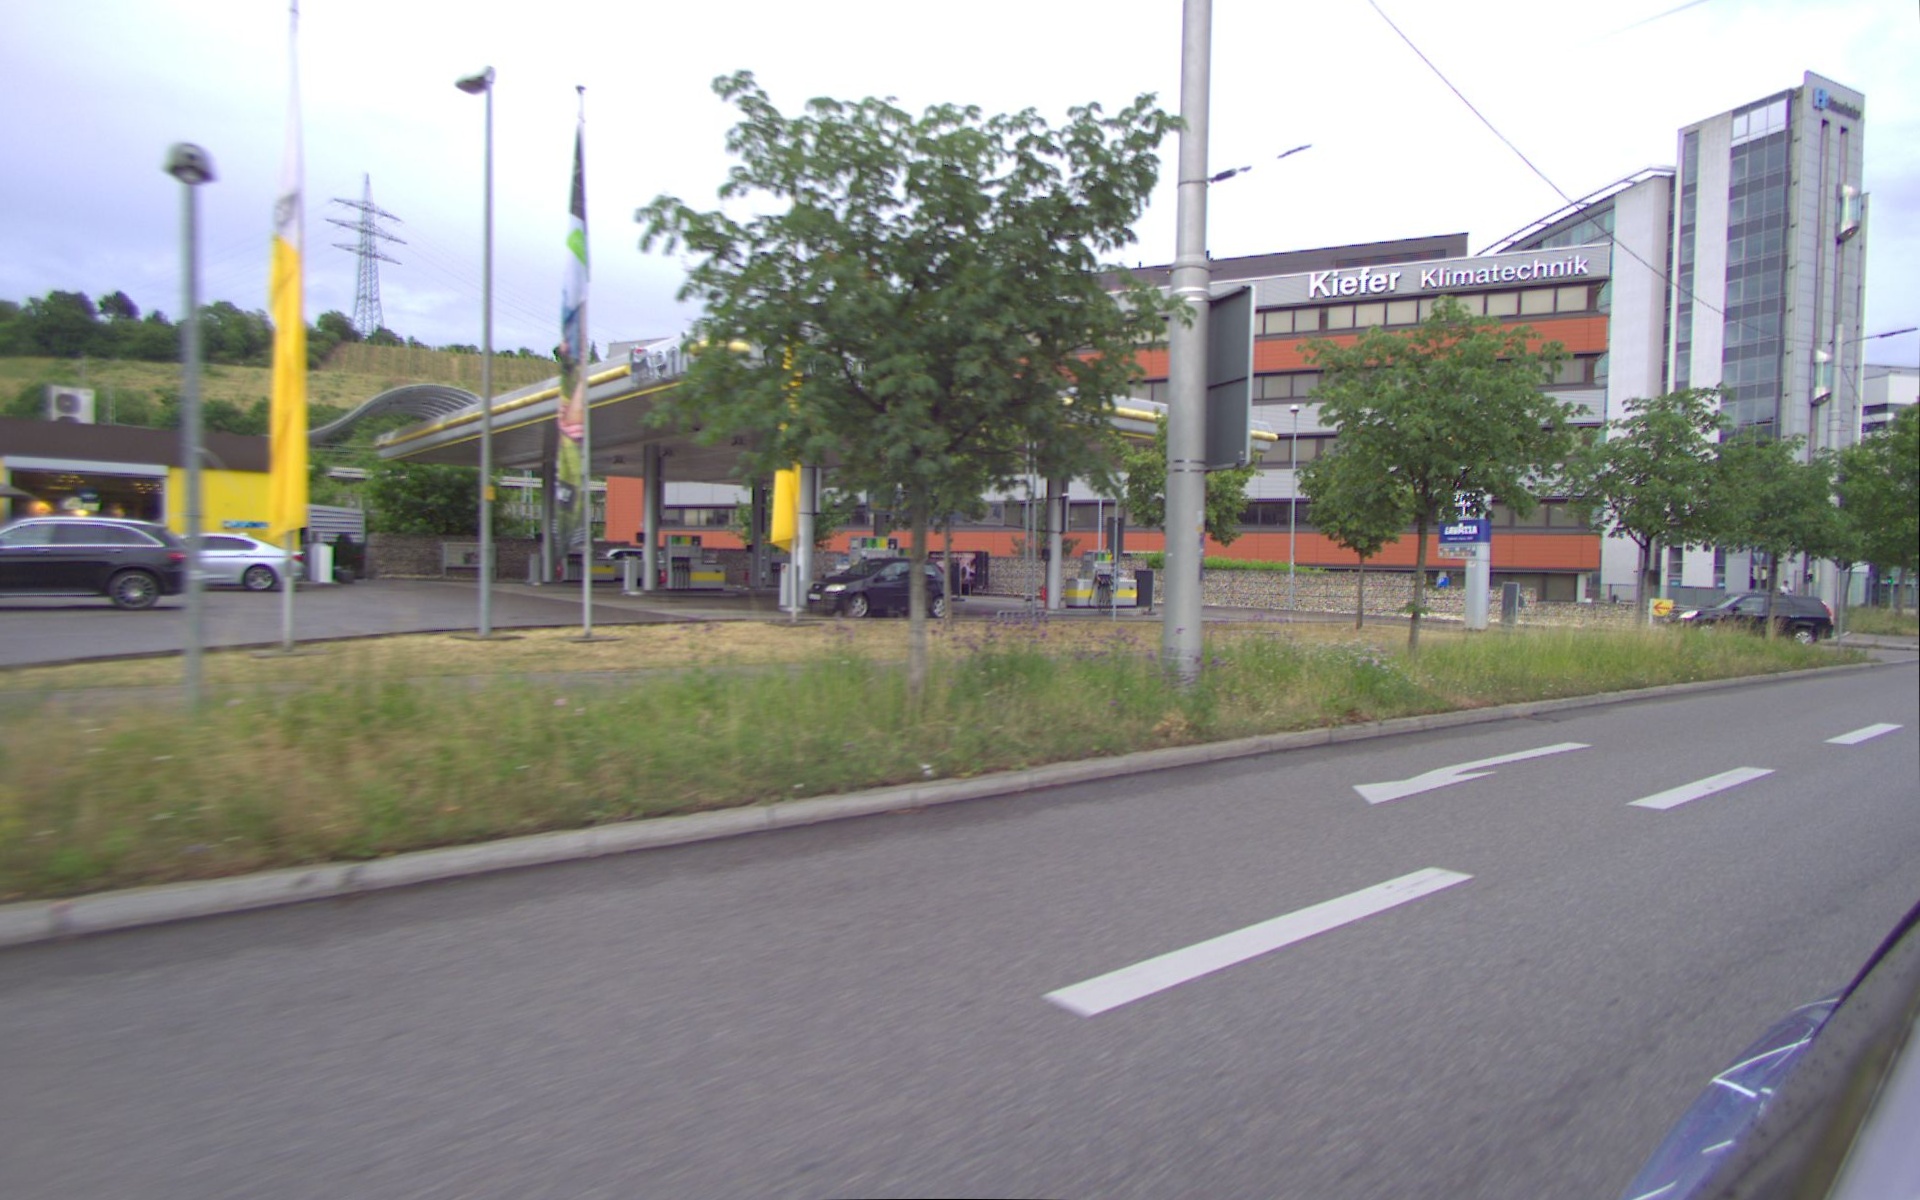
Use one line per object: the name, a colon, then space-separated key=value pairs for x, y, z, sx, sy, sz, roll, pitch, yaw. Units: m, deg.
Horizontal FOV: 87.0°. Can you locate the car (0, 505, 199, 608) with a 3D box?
car: x=-16.626 y=-0.789 z=18.183 sx=4.634 sy=1.758 sz=1.998 roll=0 pitch=3 yaw=-40

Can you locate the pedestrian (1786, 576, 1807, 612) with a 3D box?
pedestrian: x=45.285 y=-0.337 z=54.782 sx=0.675 sy=1.925 sz=0.672 roll=-1 pitch=-1 yaw=26

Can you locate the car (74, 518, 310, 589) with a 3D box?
car: x=-19.385 y=-1.145 z=25.716 sx=4.634 sy=1.628 sz=1.998 roll=0 pitch=3 yaw=-40

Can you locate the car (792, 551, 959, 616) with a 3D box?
car: x=-2.039 y=-0.407 z=24.865 sx=3.713 sy=1.436 sz=1.784 roll=0 pitch=3 yaw=-39

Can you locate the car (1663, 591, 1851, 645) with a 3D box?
car: x=25.280 y=0.570 z=32.289 sx=4.300 sy=1.667 sz=1.784 roll=-1 pitch=-1 yaw=17

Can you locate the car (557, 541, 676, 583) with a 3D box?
car: x=-15.003 y=-1.622 z=44.315 sx=4.519 sy=1.686 sz=1.997 roll=0 pitch=-1 yaw=-40

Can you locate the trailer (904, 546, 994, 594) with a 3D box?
trailer: x=-0.526 y=-1.481 z=48.984 sx=3.959 sy=2.173 sz=1.823 roll=2 pitch=1 yaw=25
